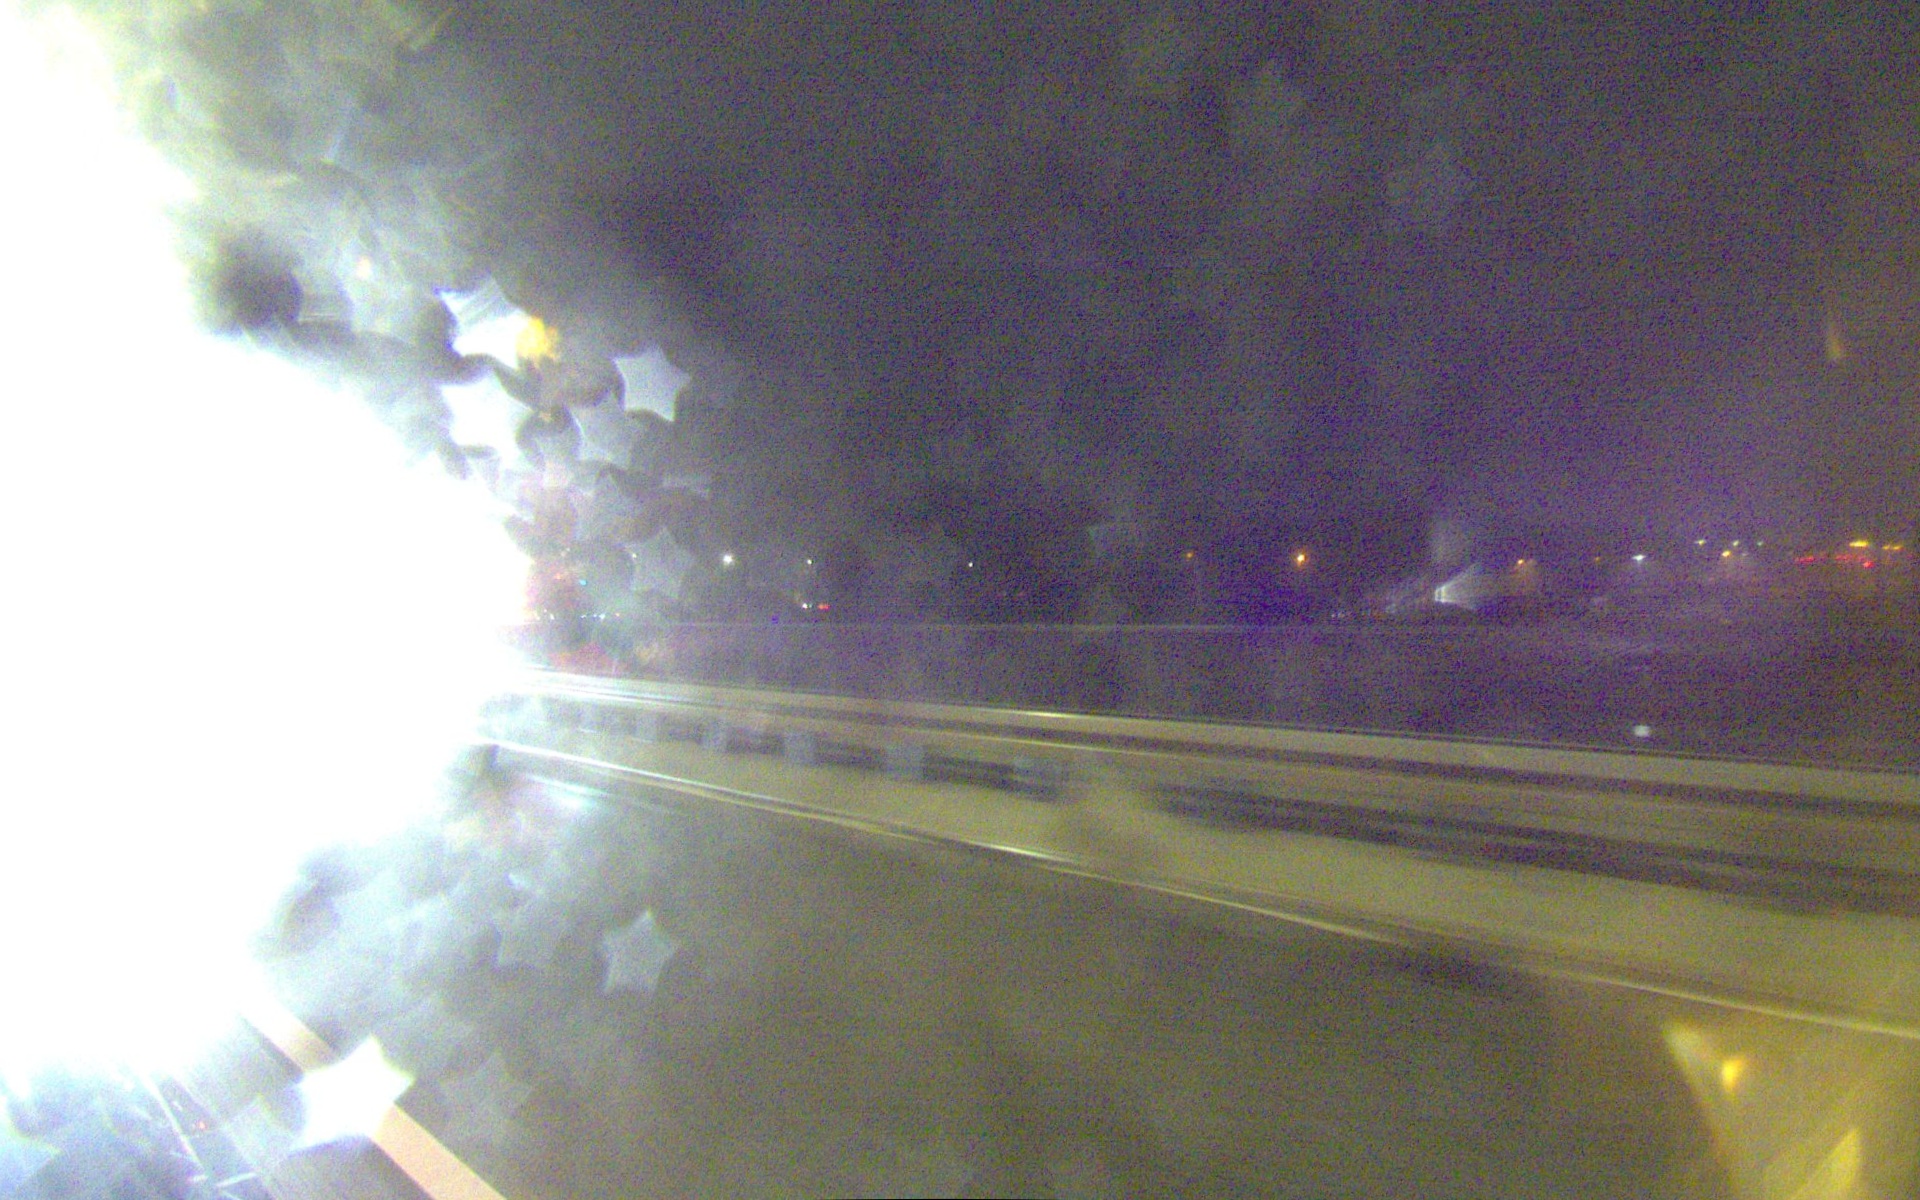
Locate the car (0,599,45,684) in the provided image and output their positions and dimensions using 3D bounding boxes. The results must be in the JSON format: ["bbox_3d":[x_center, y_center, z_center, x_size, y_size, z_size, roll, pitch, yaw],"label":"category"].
[{"bbox_3d":[-24.555,1.016,25.402,1.967,2.029,4.009,0,0,-37],"label":"car"}]

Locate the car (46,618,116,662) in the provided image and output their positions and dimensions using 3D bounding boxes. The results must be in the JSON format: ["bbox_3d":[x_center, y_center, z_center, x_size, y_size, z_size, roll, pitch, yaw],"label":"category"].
[{"bbox_3d":[-32.879,1.482,37.914,1.498,1.537,3.116,0,-2,-32],"label":"car"}]

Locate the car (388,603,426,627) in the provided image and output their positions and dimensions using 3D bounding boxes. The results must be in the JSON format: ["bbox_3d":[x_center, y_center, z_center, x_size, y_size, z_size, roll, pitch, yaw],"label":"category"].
[{"bbox_3d":[-44.358,1.224,81.242,1.730,1.875,4.011,2,-2,-16],"label":"car"}]

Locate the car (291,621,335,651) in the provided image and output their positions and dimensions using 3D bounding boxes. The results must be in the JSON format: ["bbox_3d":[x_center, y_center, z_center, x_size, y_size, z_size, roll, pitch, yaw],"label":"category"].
[{"bbox_3d":[-49.502,2.745,77.458,1.629,2.027,4.012,-8,1,-17],"label":"car"}]

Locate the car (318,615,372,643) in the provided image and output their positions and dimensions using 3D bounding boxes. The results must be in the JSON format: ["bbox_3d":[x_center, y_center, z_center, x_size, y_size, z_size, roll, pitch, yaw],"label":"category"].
[{"bbox_3d":[-40.274,1.878,66.369,1.994,1.732,4.997,0,-1,-19],"label":"car"}]

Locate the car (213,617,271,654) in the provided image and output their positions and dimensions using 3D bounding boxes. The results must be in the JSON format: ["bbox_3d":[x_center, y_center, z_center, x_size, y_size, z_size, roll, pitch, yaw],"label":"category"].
[{"bbox_3d":[-44.893,2.211,63.347,1.629,2.027,4.012,-8,1,-18],"label":"car"}]

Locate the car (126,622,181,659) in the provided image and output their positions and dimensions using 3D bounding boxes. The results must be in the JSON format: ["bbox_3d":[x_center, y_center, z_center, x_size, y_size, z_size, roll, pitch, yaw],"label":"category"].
[{"bbox_3d":[-38.095,1.884,47.859,1.284,1.540,3.056,-7,2,-26],"label":"car"}]
